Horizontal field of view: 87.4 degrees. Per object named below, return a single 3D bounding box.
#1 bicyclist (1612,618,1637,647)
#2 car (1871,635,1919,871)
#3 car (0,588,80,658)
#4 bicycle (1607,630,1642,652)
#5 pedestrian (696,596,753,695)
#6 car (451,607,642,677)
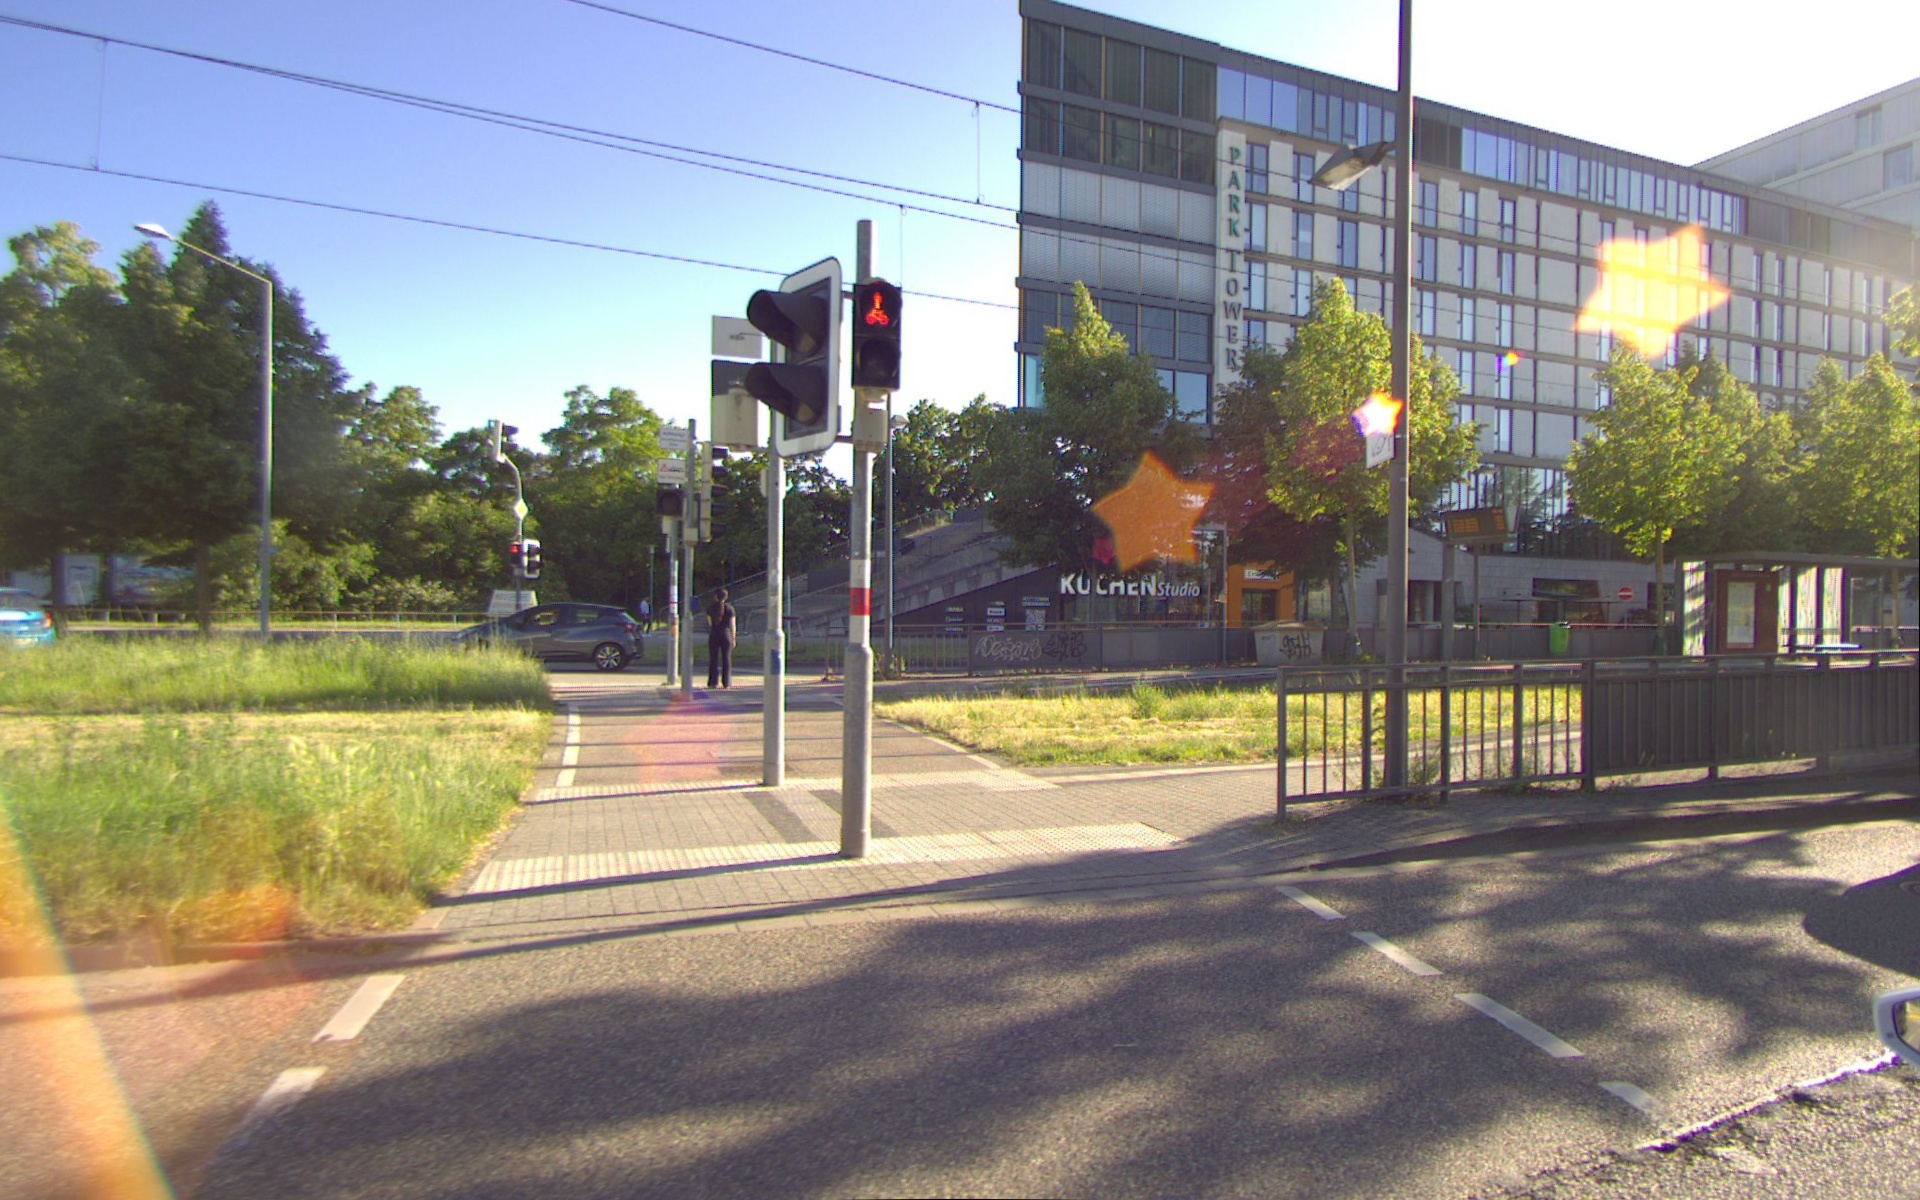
[{"bbox_3d":[34.574,1.685,52.251,0.819,1.483,0.719,0,0,-19],"label":"bicyclist"},{"bbox_3d":[7.783,0.975,6.061,4.084,1.384,1.718,2,0,-21],"label":"car"},{"bbox_3d":[-19.732,0.388,19.552,3.553,1.281,1.663,2,0,-6],"label":"car"},{"bbox_3d":[34.571,2.124,52.259,1.546,1.135,0.732,1,0,-18],"label":"bicycle"},{"bbox_3d":[-3.877,0.746,16.547,0.800,1.599,0.416,2,0,-24],"label":"pedestrian"},{"bbox_3d":[-8.791,0.901,21.663,3.551,1.414,1.660,1,-2,-14],"label":"car"}]
